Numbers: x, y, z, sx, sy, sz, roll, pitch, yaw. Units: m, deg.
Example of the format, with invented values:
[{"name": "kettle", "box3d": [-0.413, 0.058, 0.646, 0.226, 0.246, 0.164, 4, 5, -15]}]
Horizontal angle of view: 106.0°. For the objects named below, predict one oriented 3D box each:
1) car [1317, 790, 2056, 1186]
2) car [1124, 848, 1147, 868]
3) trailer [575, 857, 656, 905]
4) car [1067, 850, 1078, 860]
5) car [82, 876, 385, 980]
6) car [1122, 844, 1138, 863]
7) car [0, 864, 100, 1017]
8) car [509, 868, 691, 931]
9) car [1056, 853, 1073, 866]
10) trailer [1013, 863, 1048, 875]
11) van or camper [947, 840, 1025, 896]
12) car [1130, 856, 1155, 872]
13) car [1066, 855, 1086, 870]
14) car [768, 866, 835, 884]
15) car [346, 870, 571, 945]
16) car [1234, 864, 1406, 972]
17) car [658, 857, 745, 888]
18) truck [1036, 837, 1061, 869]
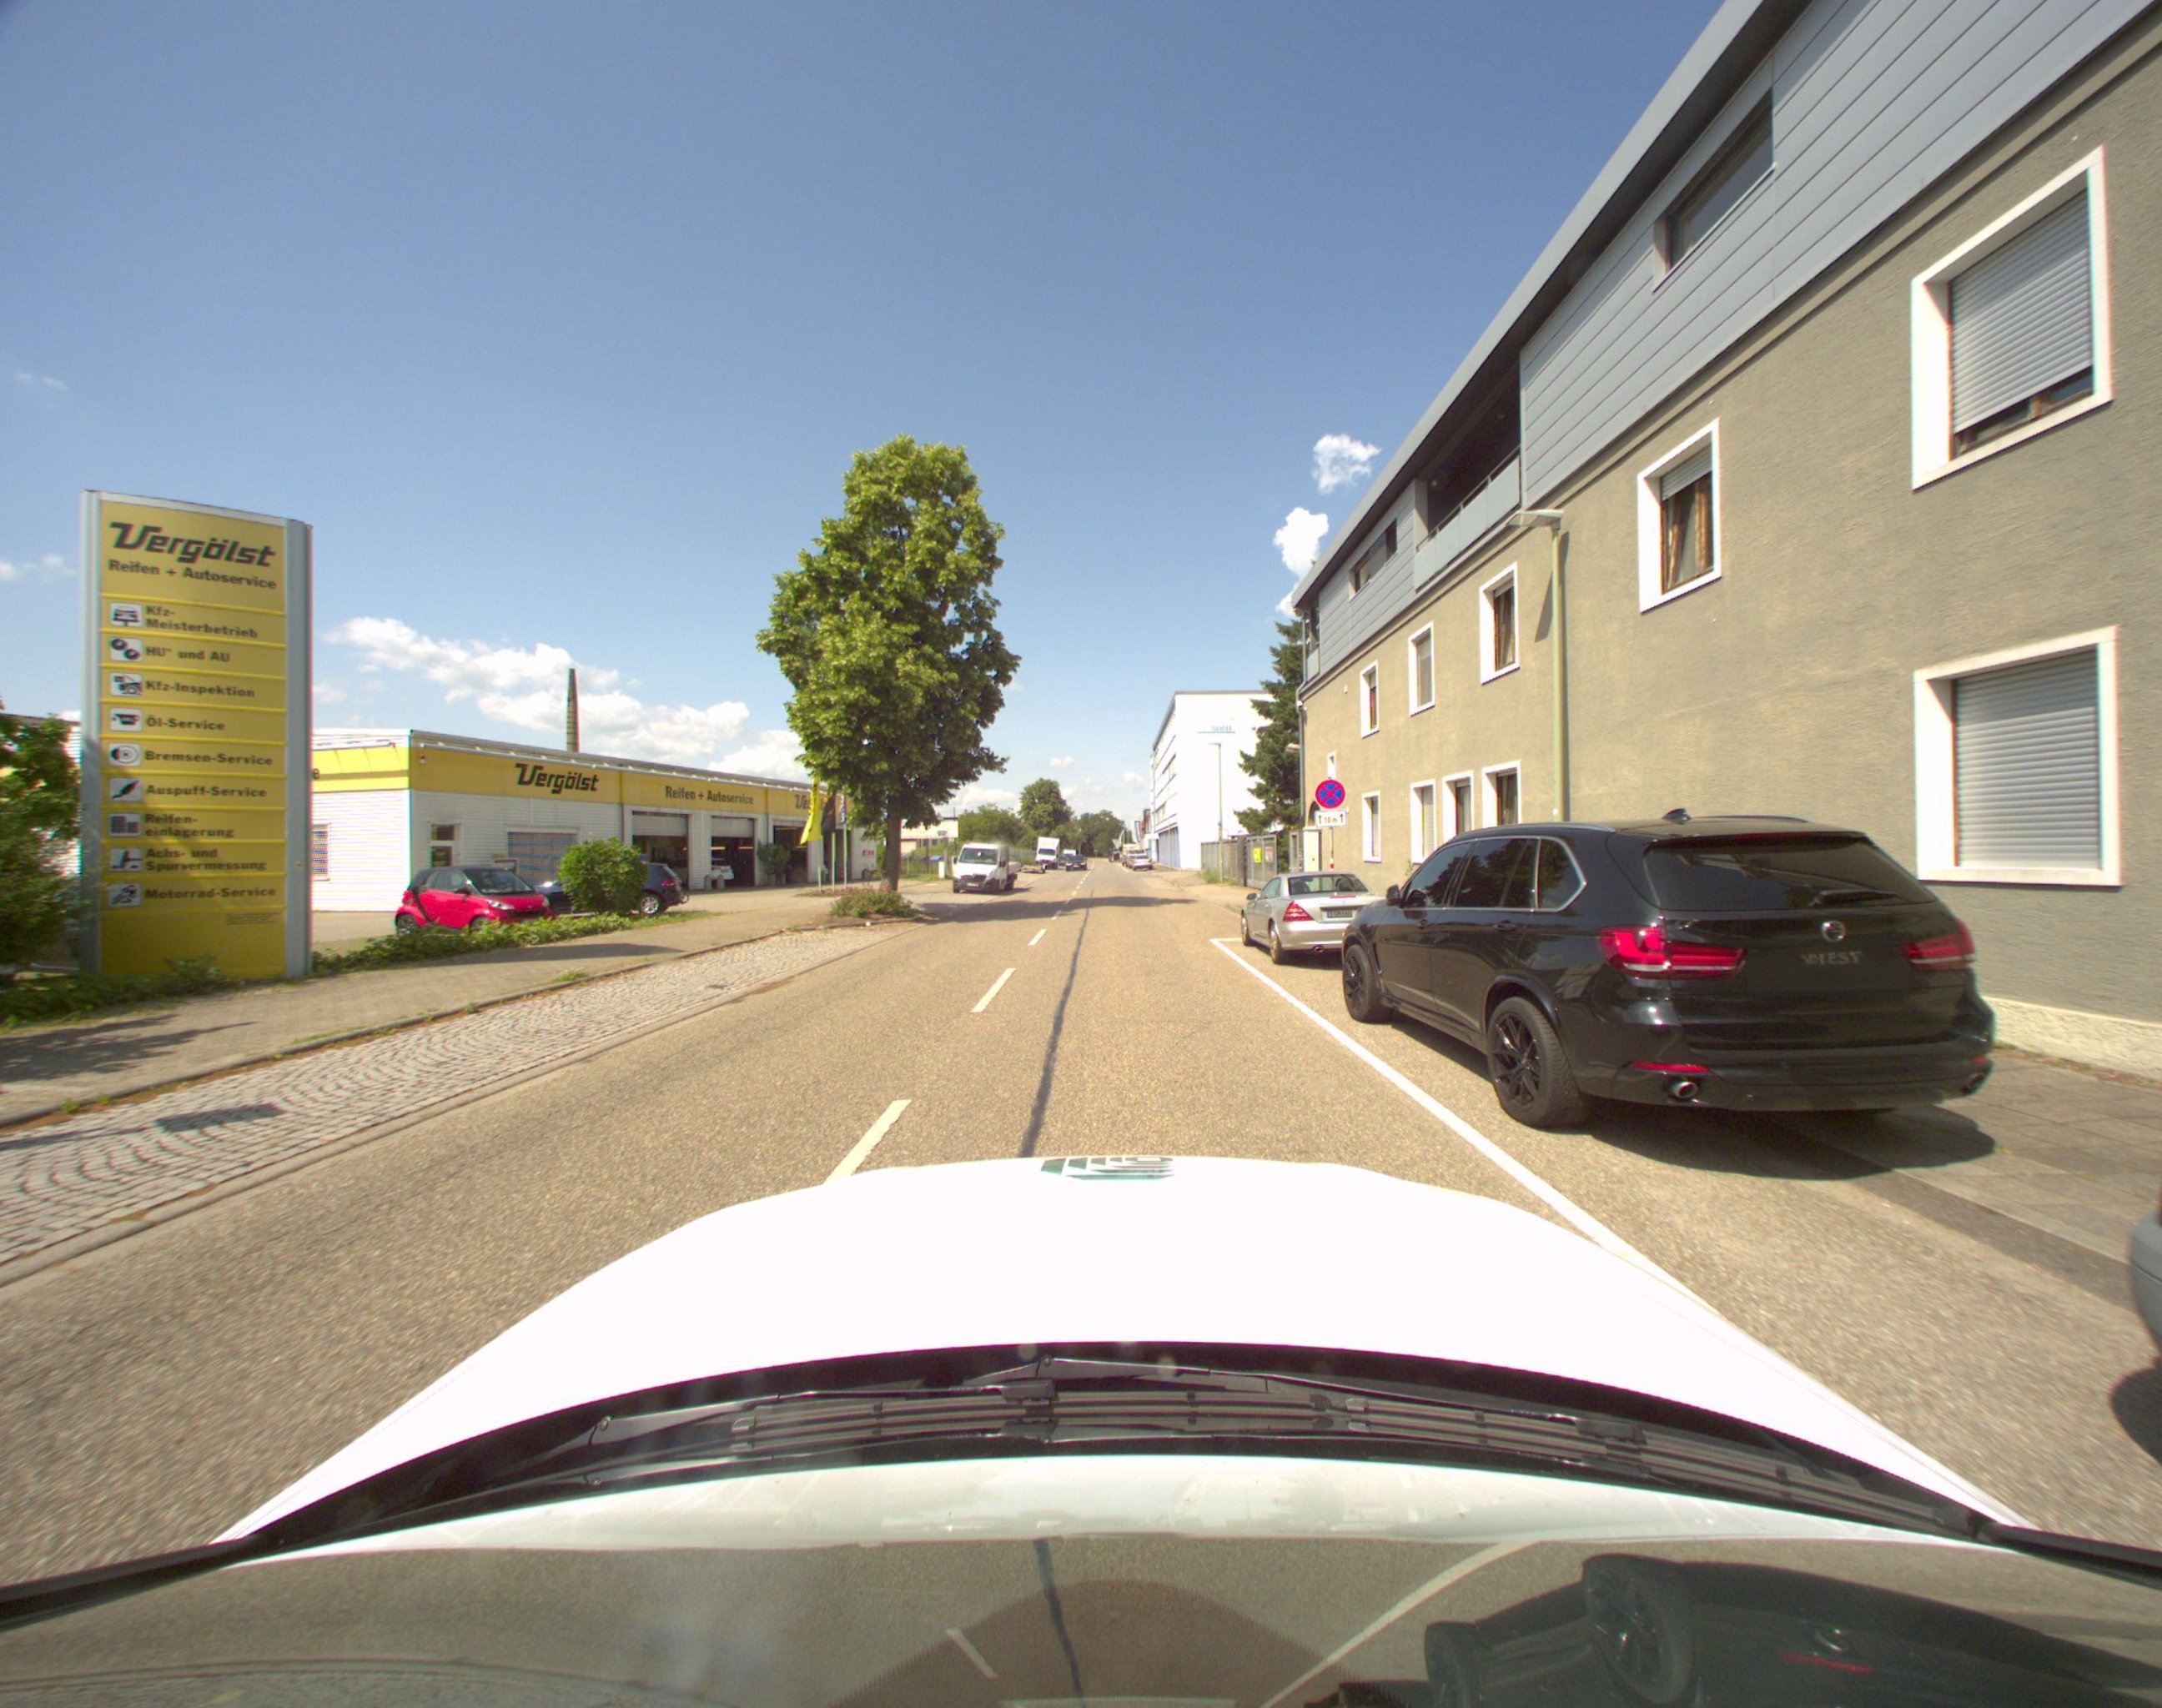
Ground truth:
[{"name": "car", "box3d": [3.470, 0.609, 6.164, 1.954, 1.780, 4.954, 0, 0, 0]}, {"name": "car", "box3d": [5.663, 0.389, 85.357, 2.208, 2.013, 5.487, -1, 0, 2]}, {"name": "trailer", "box3d": [-16.962, 0.963, 29.737, 1.359, 1.649, 2.215, -1, 0, 16]}, {"name": "car", "box3d": [-1.700, 0.153, 162.381, 1.986, 1.816, 4.002, -1, 0, 2]}, {"name": "car", "box3d": [-13.145, 1.103, 12.715, 3.385, 1.422, 1.667, -1, 0, 11]}, {"name": "car", "box3d": [5.758, -0.075, 95.883, 1.701, 2.090, 4.001, -1, 0, 1]}, {"name": "car", "box3d": [-13.795, 0.993, 9.245, 3.741, 1.672, 1.797, -1, 0, 11]}, {"name": "car", "box3d": [-12.711, 1.166, 21.801, 3.798, 1.377, 1.868, -3, 0, -18]}, {"name": "car", "box3d": [-2.106, 0.709, 105.853, 1.986, 1.684, 4.001, -1, 0, 1]}, {"name": "trailer", "box3d": [-4.186, 1.263, 68.887, 2.408, 0.813, 5.540, 1, 0, 2]}, {"name": "van or camper", "box3d": [-4.411, 0.606, 39.288, 2.163, 2.413, 7.707, -1, 0, 5]}, {"name": "car", "box3d": [5.366, 0.890, 71.484, 1.921, 1.310, 4.001, -1, 0, 1]}, {"name": "car", "box3d": [-0.439, 0.775, 75.396, 1.648, 1.324, 4.418, -1, 0, 2]}, {"name": "car", "box3d": [-16.835, 1.277, 49.048, 3.604, 1.037, 1.549, -1, 0, 19]}, {"name": "car", "box3d": [-13.138, 1.097, 17.262, 3.809, 1.422, 1.737, -1, 0, 14]}, {"name": "car", "box3d": [3.540, 0.875, 12.753, 1.623, 1.353, 3.925, -1, 0, 1]}, {"name": "car", "box3d": [-18.820, 0.905, 40.377, 3.949, 1.464, 2.002, -1, 0, 30]}, {"name": "truck", "box3d": [-3.256, -0.092, 83.579, 2.022, 3.154, 6.502, -1, 0, 2]}]
